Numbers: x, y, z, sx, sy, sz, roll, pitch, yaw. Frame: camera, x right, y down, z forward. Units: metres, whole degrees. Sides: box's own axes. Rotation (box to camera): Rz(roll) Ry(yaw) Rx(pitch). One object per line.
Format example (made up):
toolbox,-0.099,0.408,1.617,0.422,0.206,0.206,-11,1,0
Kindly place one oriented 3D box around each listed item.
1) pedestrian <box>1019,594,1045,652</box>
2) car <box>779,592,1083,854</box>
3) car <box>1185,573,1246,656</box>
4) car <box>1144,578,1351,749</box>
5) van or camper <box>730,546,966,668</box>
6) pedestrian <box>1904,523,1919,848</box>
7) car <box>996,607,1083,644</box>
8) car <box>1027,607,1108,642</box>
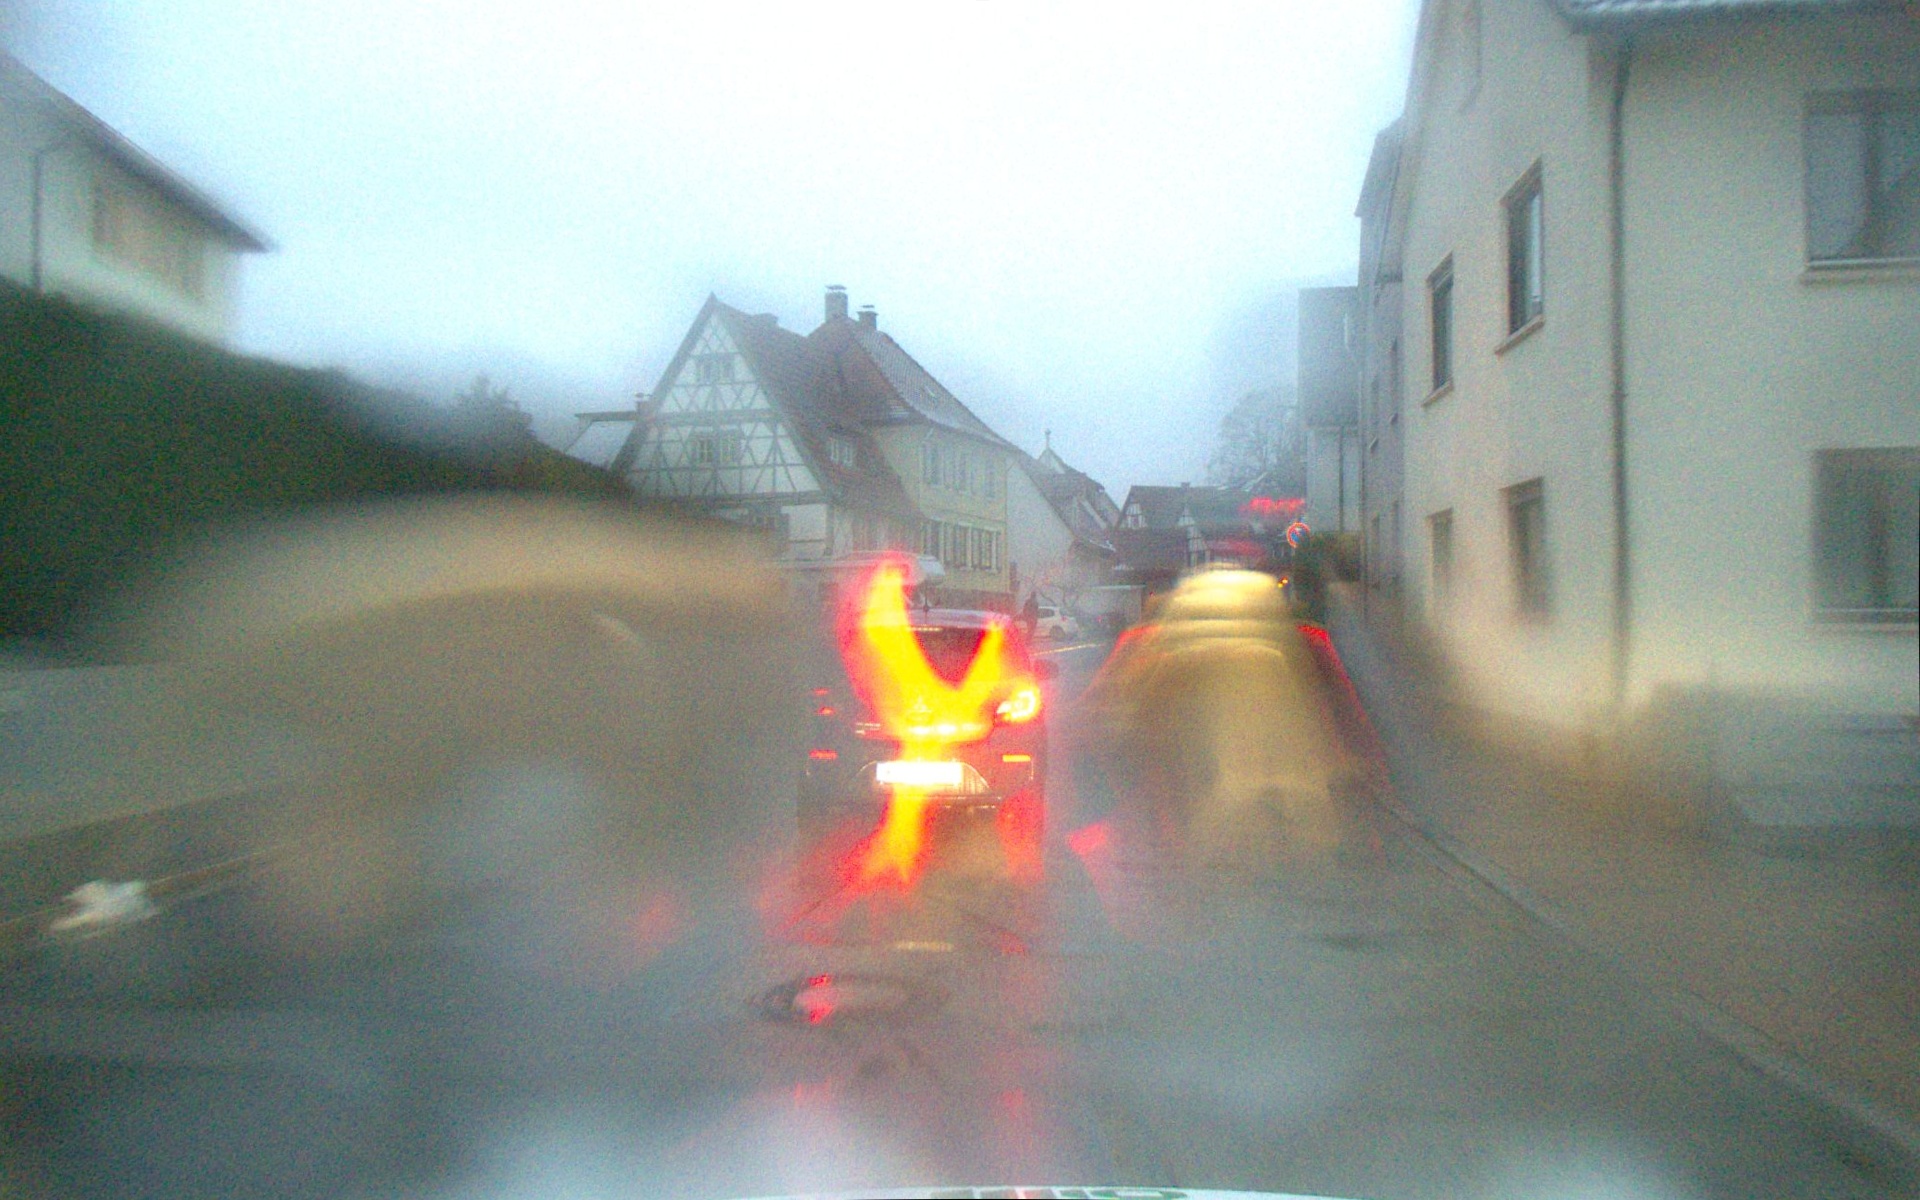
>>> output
pedestrian,2.566,0.803,59.115,0.855,2.049,0.795,0,-1,8
car,-0.145,0.738,11.783,1.758,1.502,4.000,2,0,1
car,7.880,0.434,50.765,1.775,2.455,3.754,0,0,10
car,3.126,0.658,18.774,1.809,1.666,4.337,1,-1,3
van or camper,-3.067,0.225,45.634,5.931,3.007,2.408,-3,-1,14
pedestrian,3.383,0.590,4.671,0.848,1.696,0.993,-3,0,6
car,3.453,1.090,71.710,3.433,1.533,1.693,1,0,16
car,4.835,1.080,74.098,3.432,1.533,1.693,1,0,10
